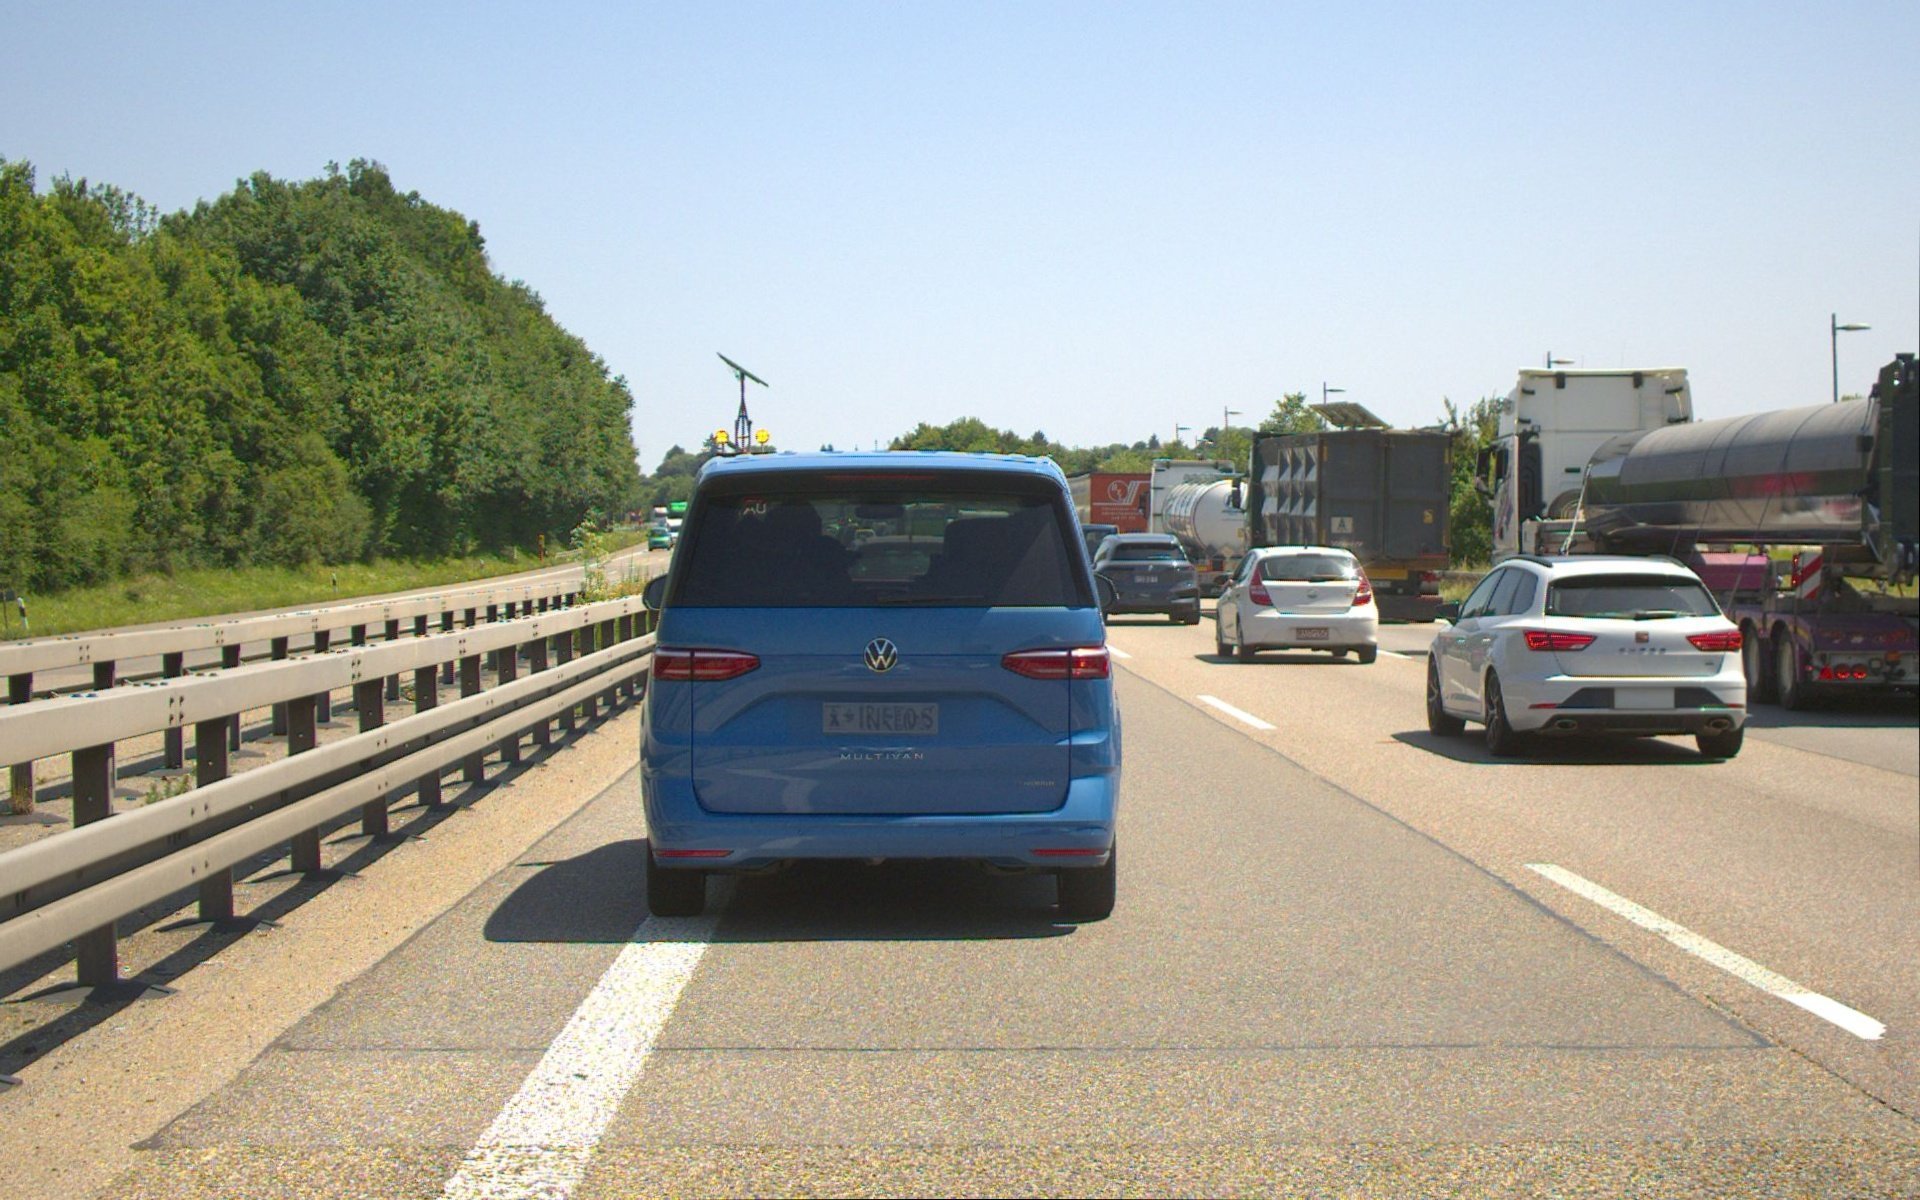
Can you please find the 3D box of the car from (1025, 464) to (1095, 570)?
[{"bbox_3d":[5.081,-4.167,175.759,3.218,5.239,8.144,1,0,0],"label":"car"}]

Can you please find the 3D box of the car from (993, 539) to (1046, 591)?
[{"bbox_3d":[2.362,-1.379,137.450,1.993,2.007,4.000,1,0,-1],"label":"car"}]

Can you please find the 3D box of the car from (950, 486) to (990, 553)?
[{"bbox_3d":[0.686,-5.972,257.428,2.716,4.697,11.561,1,0,-1],"label":"car"}]

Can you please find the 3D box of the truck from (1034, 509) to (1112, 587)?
[{"bbox_3d":[2.778,-1.259,85.020,1.725,1.851,4.000,1,0,-1],"label":"truck"}]

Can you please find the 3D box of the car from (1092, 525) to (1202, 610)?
[{"bbox_3d":[3.480,-0.604,64.610,1.781,1.519,4.000,1,0,-1],"label":"car"}]

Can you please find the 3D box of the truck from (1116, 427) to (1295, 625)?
[{"bbox_3d":[6.875,-2.002,99.117,3.621,5.195,15.690,1,0,-1],"label":"truck"}]

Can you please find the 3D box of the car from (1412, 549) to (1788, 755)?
[{"bbox_3d":[4.581,0.324,25.197,1.867,1.356,4.000,1,1,-2],"label":"car"}]

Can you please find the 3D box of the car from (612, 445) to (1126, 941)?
[{"bbox_3d":[-0.319,0.340,14.887,1.901,1.831,4.000,1,0,1],"label":"car"}]

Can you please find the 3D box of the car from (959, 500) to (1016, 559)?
[{"bbox_3d":[1.288,-3.353,164.889,2.550,2.708,5.621,1,0,-1],"label":"car"}]

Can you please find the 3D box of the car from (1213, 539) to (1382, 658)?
[{"bbox_3d":[4.345,-0.027,44.762,1.840,1.449,4.000,1,0,1],"label":"car"}]

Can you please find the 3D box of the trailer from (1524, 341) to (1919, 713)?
[{"bbox_3d":[8.877,-0.620,36.309,3.646,3.068,15.771,1,0,2],"label":"trailer"}]

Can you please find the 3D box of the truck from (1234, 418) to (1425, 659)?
[{"bbox_3d":[8.221,-1.348,77.230,3.658,5.162,5.708,1,0,1],"label":"truck"}]

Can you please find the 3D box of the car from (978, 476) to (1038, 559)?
[{"bbox_3d":[3.115,-5.383,226.912,3.218,5.239,8.145,1,0,-4],"label":"car"}]

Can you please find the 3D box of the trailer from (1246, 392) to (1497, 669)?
[{"bbox_3d":[8.214,-1.318,70.661,3.646,5.119,13.075,1,0,1],"label":"trailer"}]

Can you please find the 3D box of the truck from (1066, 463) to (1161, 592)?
[{"bbox_3d":[6.025,-2.785,136.419,3.068,4.903,10.691,1,0,-1],"label":"truck"}]

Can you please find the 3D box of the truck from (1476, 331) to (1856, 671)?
[{"bbox_3d":[9.127,-1.214,45.479,3.626,4.080,7.524,1,0,2],"label":"truck"}]
